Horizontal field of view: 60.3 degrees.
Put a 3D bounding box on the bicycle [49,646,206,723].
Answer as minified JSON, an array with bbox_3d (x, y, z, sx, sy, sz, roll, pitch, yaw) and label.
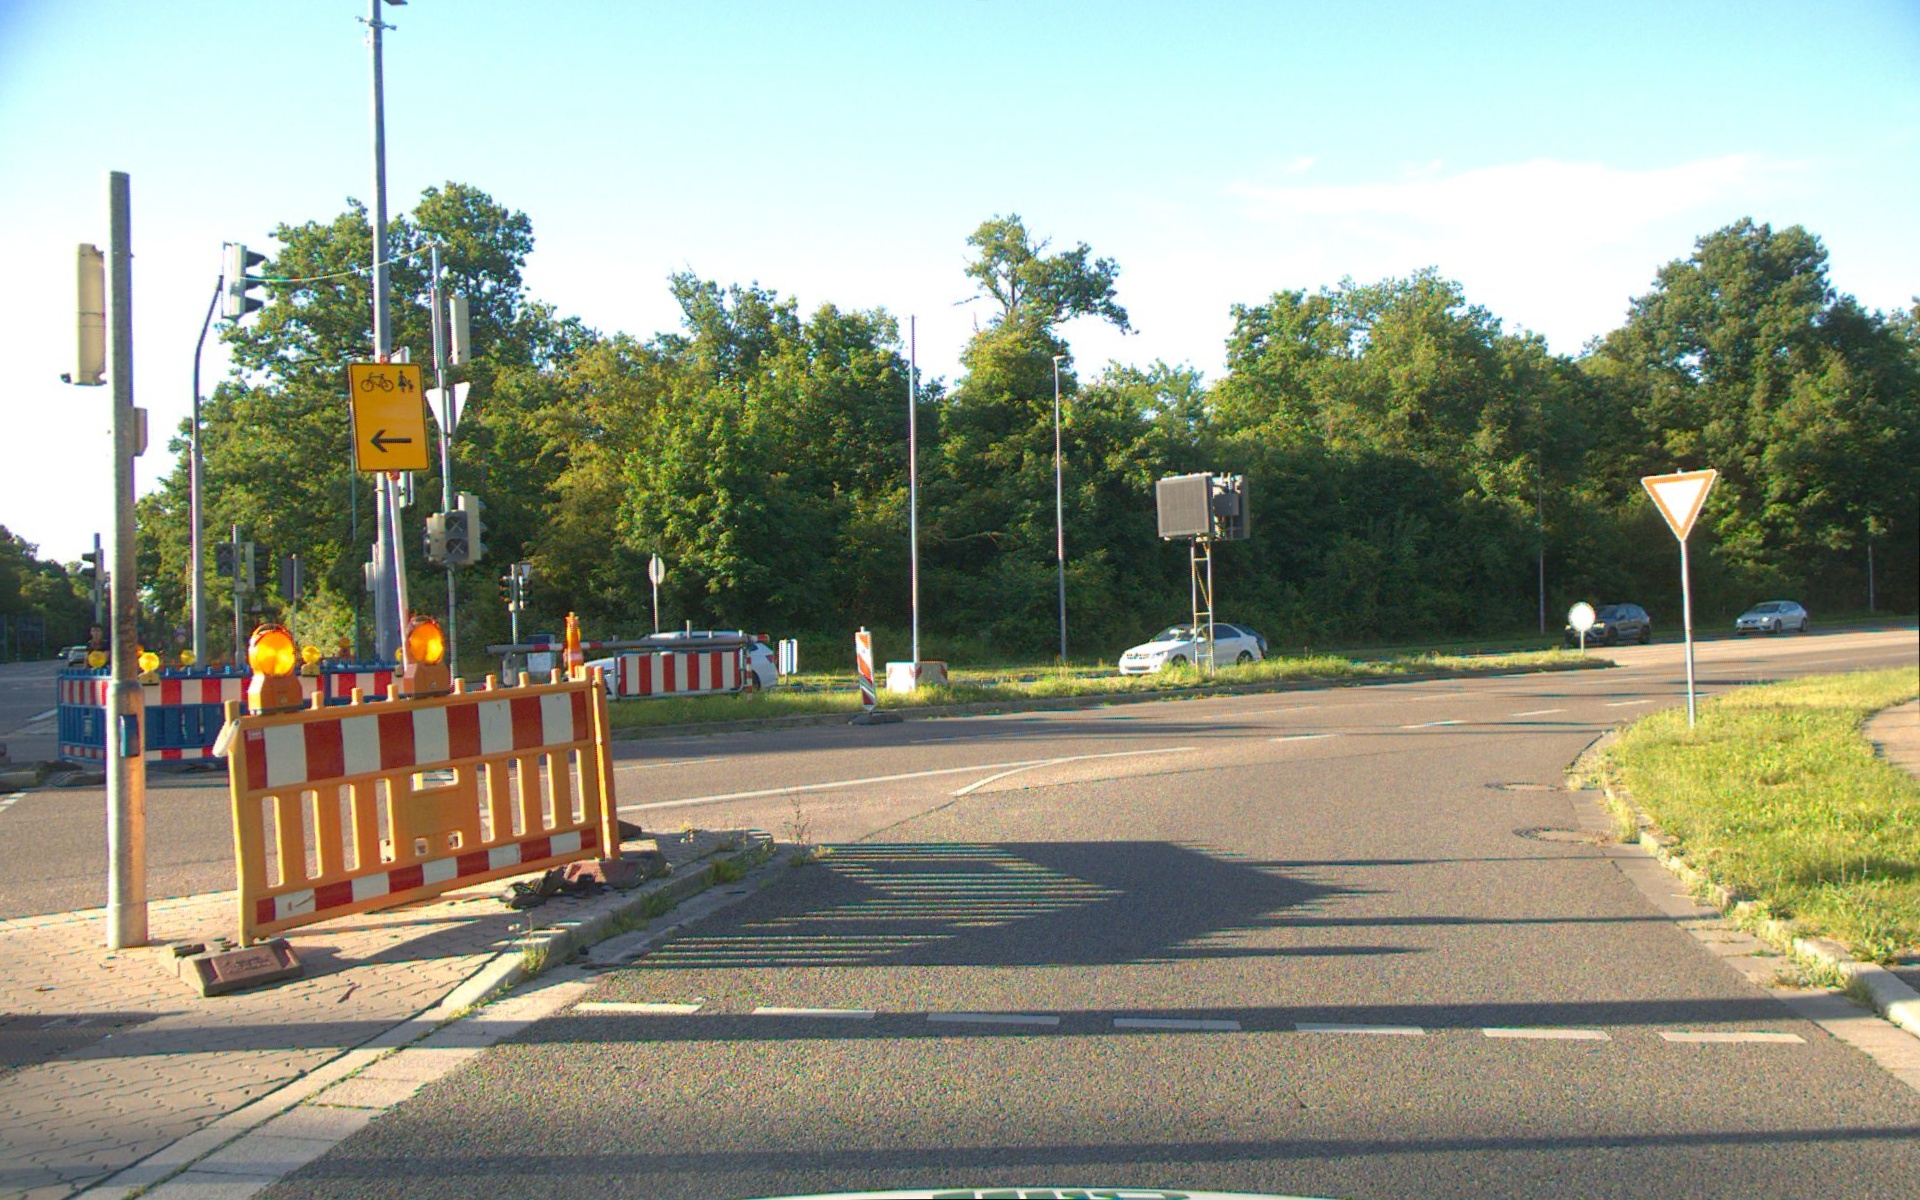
[{"bbox_3d":[-16.346,1.629,32.550,0.949,1.407,2.630,-1,-1,35],"label":"bicycle"}]

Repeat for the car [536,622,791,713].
[{"bbox_3d":[-5.910,1.313,33.407,4.797,1.608,1.967,-1,-1,-44],"label":"car"}]

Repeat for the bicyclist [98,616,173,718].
[{"bbox_3d":[-16.282,1.306,32.666,0.949,1.964,1.012,-1,-1,36],"label":"bicyclist"}]

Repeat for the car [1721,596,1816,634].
[{"bbox_3d":[36.230,0.681,74.037,4.602,1.556,1.973,-1,-1,-38],"label":"car"}]

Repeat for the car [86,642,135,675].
[{"bbox_3d":[-39.608,2.725,77.194,1.917,1.439,3.966,-1,-1,-26],"label":"car"}]

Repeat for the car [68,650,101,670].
[{"bbox_3d":[-67.629,4.592,127.802,1.838,1.469,3.972,0,-1,-22],"label":"car"}]

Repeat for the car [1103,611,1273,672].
[{"bbox_3d":[6.181,1.103,44.529,4.769,1.461,1.968,-1,-1,-43],"label":"car"}]

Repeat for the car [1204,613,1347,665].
[{"bbox_3d":[9.902,1.190,51.658,4.769,1.461,1.968,-1,-1,-43],"label":"car"}]

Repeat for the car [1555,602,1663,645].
[{"bbox_3d":[25.652,0.900,65.271,4.606,1.556,1.972,-1,-1,-40],"label":"car"}]
